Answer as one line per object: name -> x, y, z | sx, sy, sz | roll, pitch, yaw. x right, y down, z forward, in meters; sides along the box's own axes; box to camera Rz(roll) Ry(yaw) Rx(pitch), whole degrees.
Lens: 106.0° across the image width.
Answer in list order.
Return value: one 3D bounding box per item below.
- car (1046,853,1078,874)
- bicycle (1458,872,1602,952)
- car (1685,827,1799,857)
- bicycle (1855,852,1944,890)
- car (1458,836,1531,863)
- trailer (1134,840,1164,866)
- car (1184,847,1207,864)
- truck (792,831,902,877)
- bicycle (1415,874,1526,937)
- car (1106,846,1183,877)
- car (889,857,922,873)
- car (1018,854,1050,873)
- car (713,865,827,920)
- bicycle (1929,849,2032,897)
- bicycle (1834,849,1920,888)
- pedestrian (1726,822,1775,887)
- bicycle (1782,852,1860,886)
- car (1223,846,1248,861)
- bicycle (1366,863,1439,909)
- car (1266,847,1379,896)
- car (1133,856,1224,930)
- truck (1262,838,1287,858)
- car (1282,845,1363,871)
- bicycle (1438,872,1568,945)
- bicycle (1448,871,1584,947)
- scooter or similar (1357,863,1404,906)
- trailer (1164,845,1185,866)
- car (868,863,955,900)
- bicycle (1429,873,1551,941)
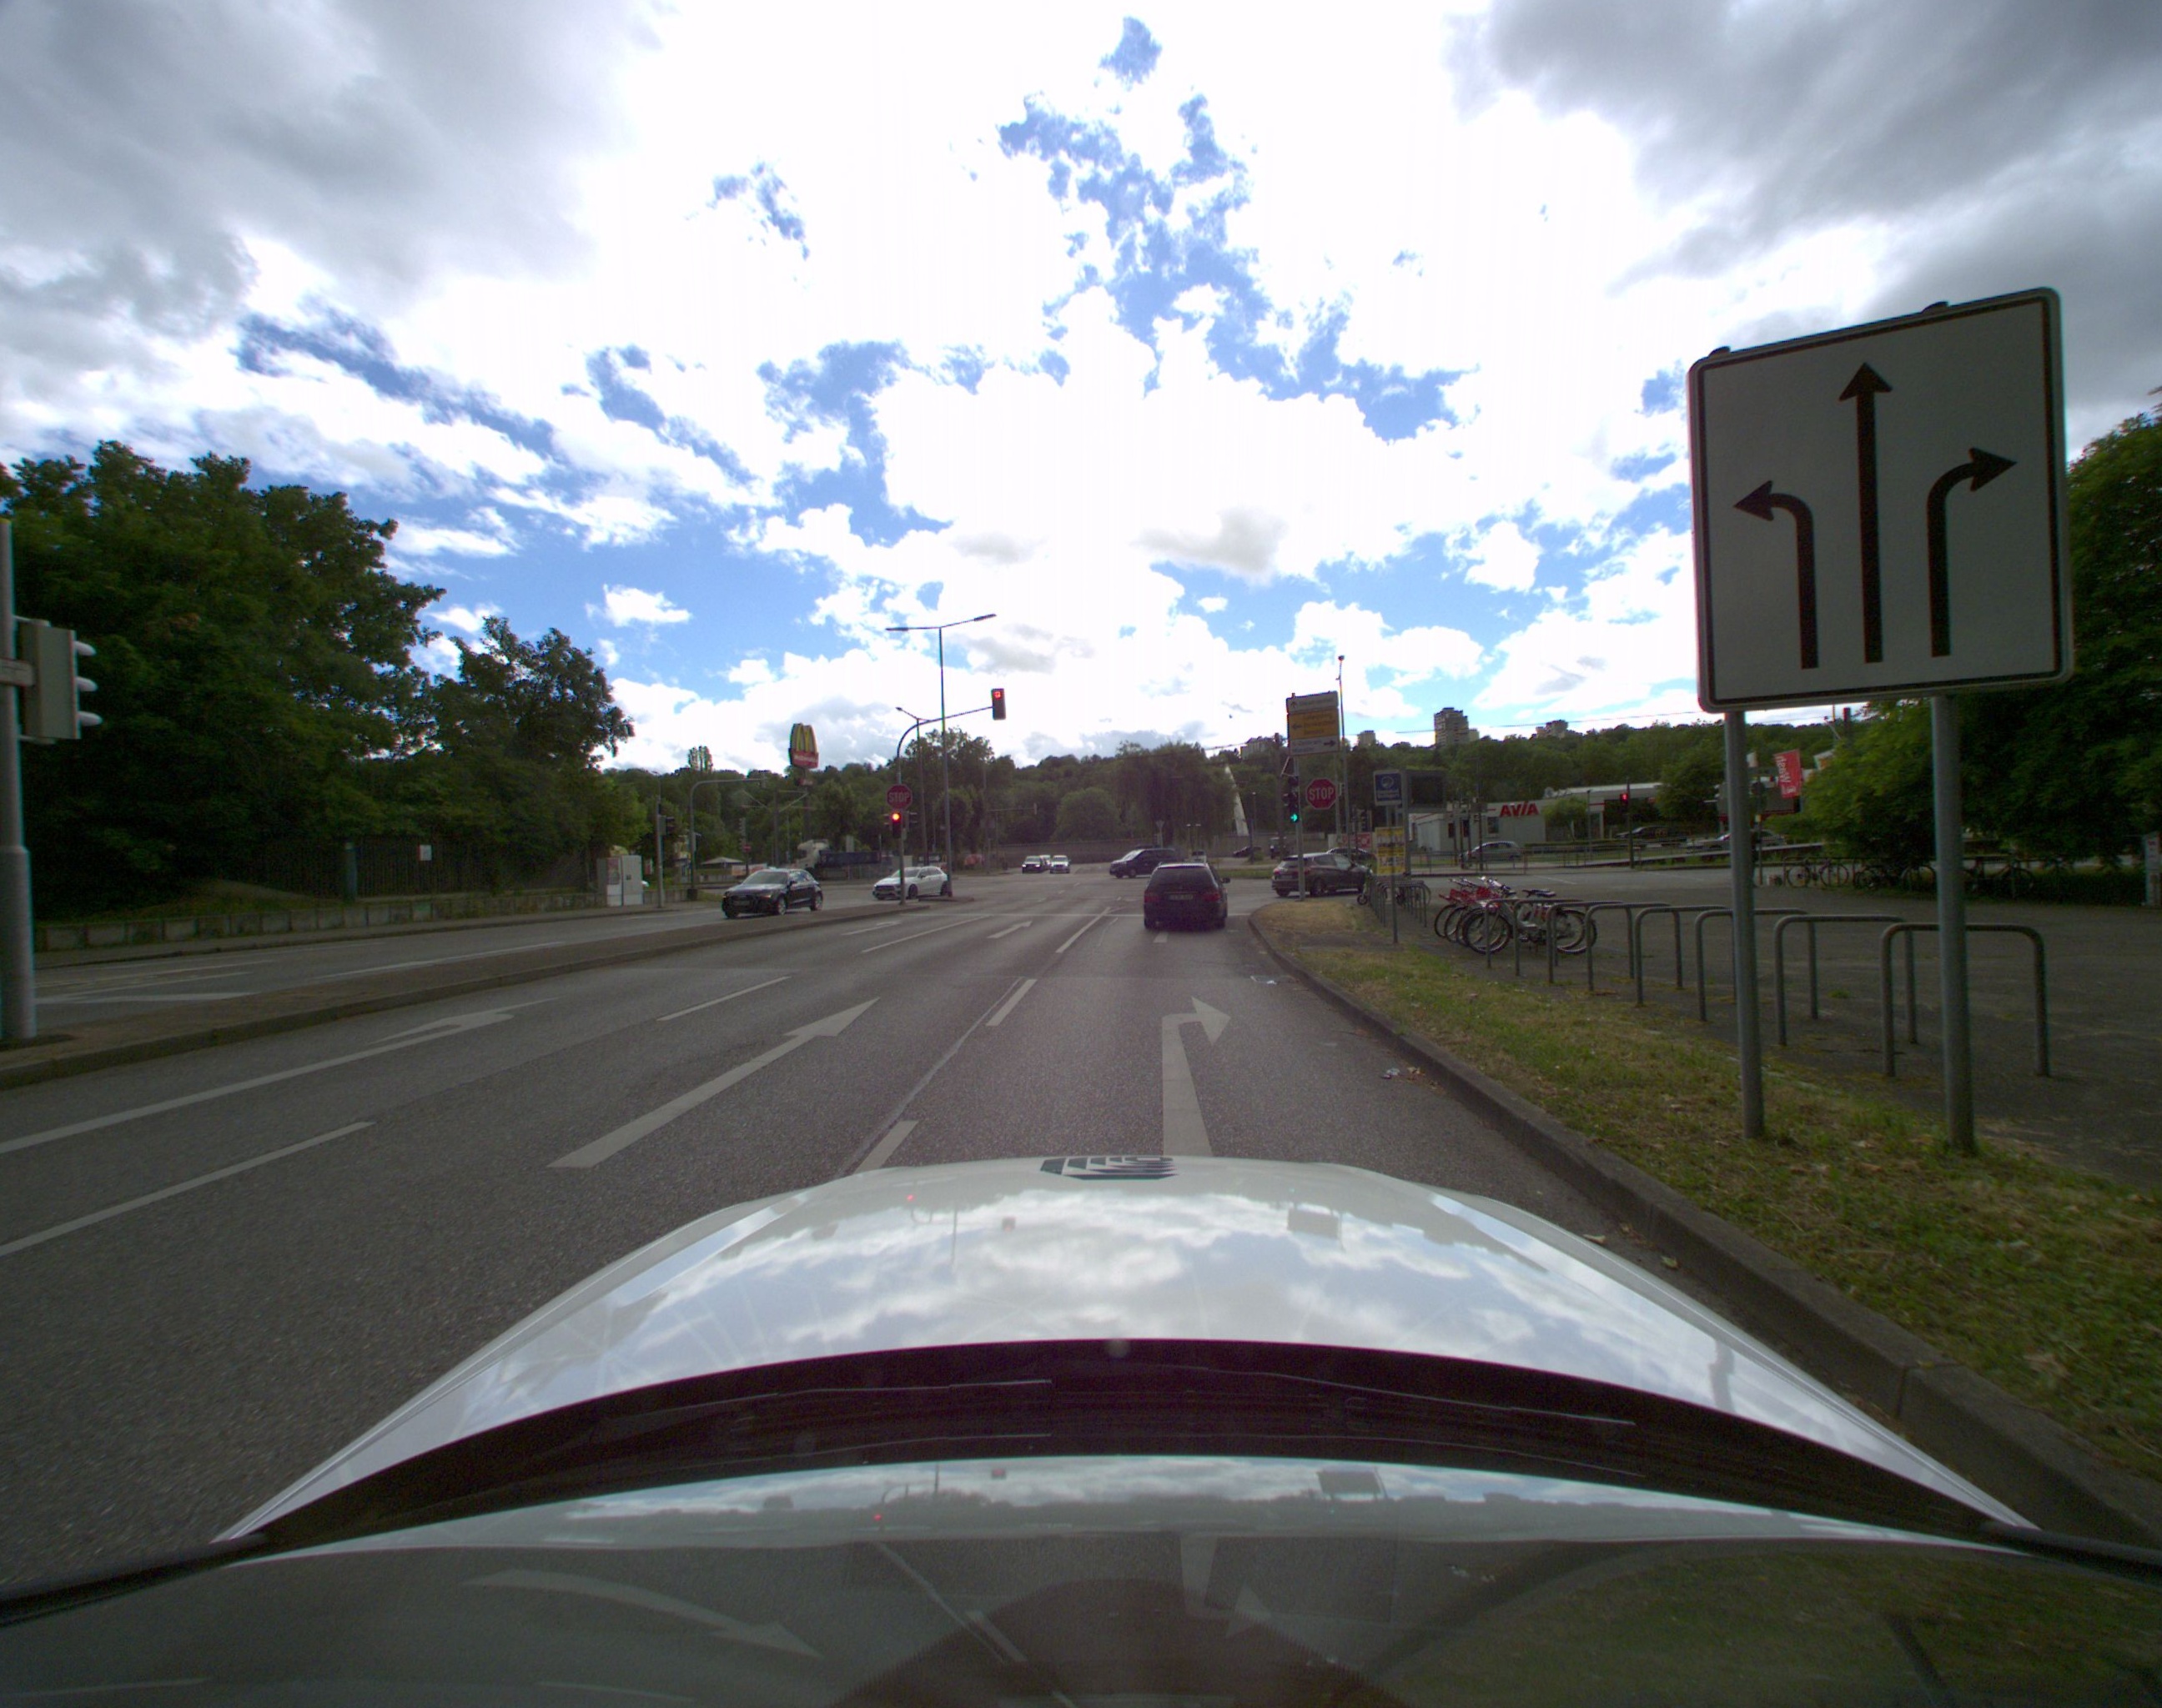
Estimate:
car -> -1.771, 0.871, 78.146 | 1.979, 1.859, 4.015 | -2, 0, 14
bicycle -> 6.480, 0.848, 11.853 | 1.762, 1.111, 0.428 | -3, -2, 25
car -> 39.348, -0.702, 48.591 | 4.890, 1.600, 2.022 | -2, 0, 12
bicycle -> 20.602, 0.432, 20.525 | 1.707, 0.898, 0.376 | -2, 0, 6
car -> 26.199, -0.284, 51.690 | 3.746, 1.508, 1.709 | -2, 0, 10
trailer -> 7.415, -0.102, 88.675 | 2.335, 2.582, 4.938 | -3, -1, 14
car -> 12.523, 0.127, 88.604 | 1.979, 1.750, 4.015 | -2, 0, 14
truck -> -20.920, 0.042, 72.805 | 9.027, 3.587, 3.234 | -3, -1, 17
bicycle -> 7.298, 0.963, 15.307 | 1.769, 1.111, 0.554 | -1, -1, 6
car -> 3.987, 0.461, 50.860 | 4.564, 1.774, 1.595 | -2, 0, -24
car -> -24.306, 1.536, 113.029 | 3.964, 2.014, 2.005 | -3, -1, 8
car -> -4.647, 0.911, 80.471 | 1.979, 1.640, 4.015 | -2, 0, 14
car -> -9.371, 1.113, 24.887 | 1.608, 1.416, 3.902 | -2, 0, 6
bicycle -> 20.117, 0.424, 18.220 | 1.707, 0.991, 0.376 | -2, 0, 6
bicycle -> 20.764, 0.373, 21.256 | 1.707, 0.898, 0.376 | -4, 0, 6
pedestrian -> 19.175, 0.009, 23.341 | 0.688, 1.819, 0.772 | -2, 0, -17
bicycle -> 20.818, 0.429, 22.922 | 1.707, 0.898, 0.360 | -2, 0, 6
car -> 20.439, -0.083, 107.834 | 3.129, 1.818, 1.408 | -3, -1, 12
bicycle -> 8.418, 0.836, 21.369 | 1.680, 1.111, 0.480 | -2, 1, 6
car -> 8.754, 0.602, 29.426 | 4.167, 1.530, 1.713 | -2, 0, -36
car -> 2.447, 0.843, 19.397 | 1.811, 1.509, 4.588 | -1, 0, 11
truck -> 21.762, -0.679, 91.371 | 2.217, 2.014, 5.264 | -3, -1, 17
car -> 15.988, 0.265, 54.153 | 5.017, 1.523, 1.749 | -2, 0, 12
bicycle -> 6.867, 0.876, 13.324 | 1.769, 1.111, 0.581 | -2, -1, 6
bicycle -> 6.711, 0.851, 12.617 | 1.767, 1.111, 0.456 | -2, -1, 11
scooter or similar -> 8.435, 0.852, 22.947 | 1.173, 1.169, 0.295 | -2, 0, 13
trailer -> 10.394, 0.185, 90.080 | 1.981, 2.184, 4.011 | -3, -1, 10
car -> -7.625, 1.212, 37.006 | 1.586, 1.405, 4.316 | -2, 0, 24
bicycle -> 7.000, 0.907, 13.993 | 1.769, 1.111, 0.542 | -2, -2, 6
